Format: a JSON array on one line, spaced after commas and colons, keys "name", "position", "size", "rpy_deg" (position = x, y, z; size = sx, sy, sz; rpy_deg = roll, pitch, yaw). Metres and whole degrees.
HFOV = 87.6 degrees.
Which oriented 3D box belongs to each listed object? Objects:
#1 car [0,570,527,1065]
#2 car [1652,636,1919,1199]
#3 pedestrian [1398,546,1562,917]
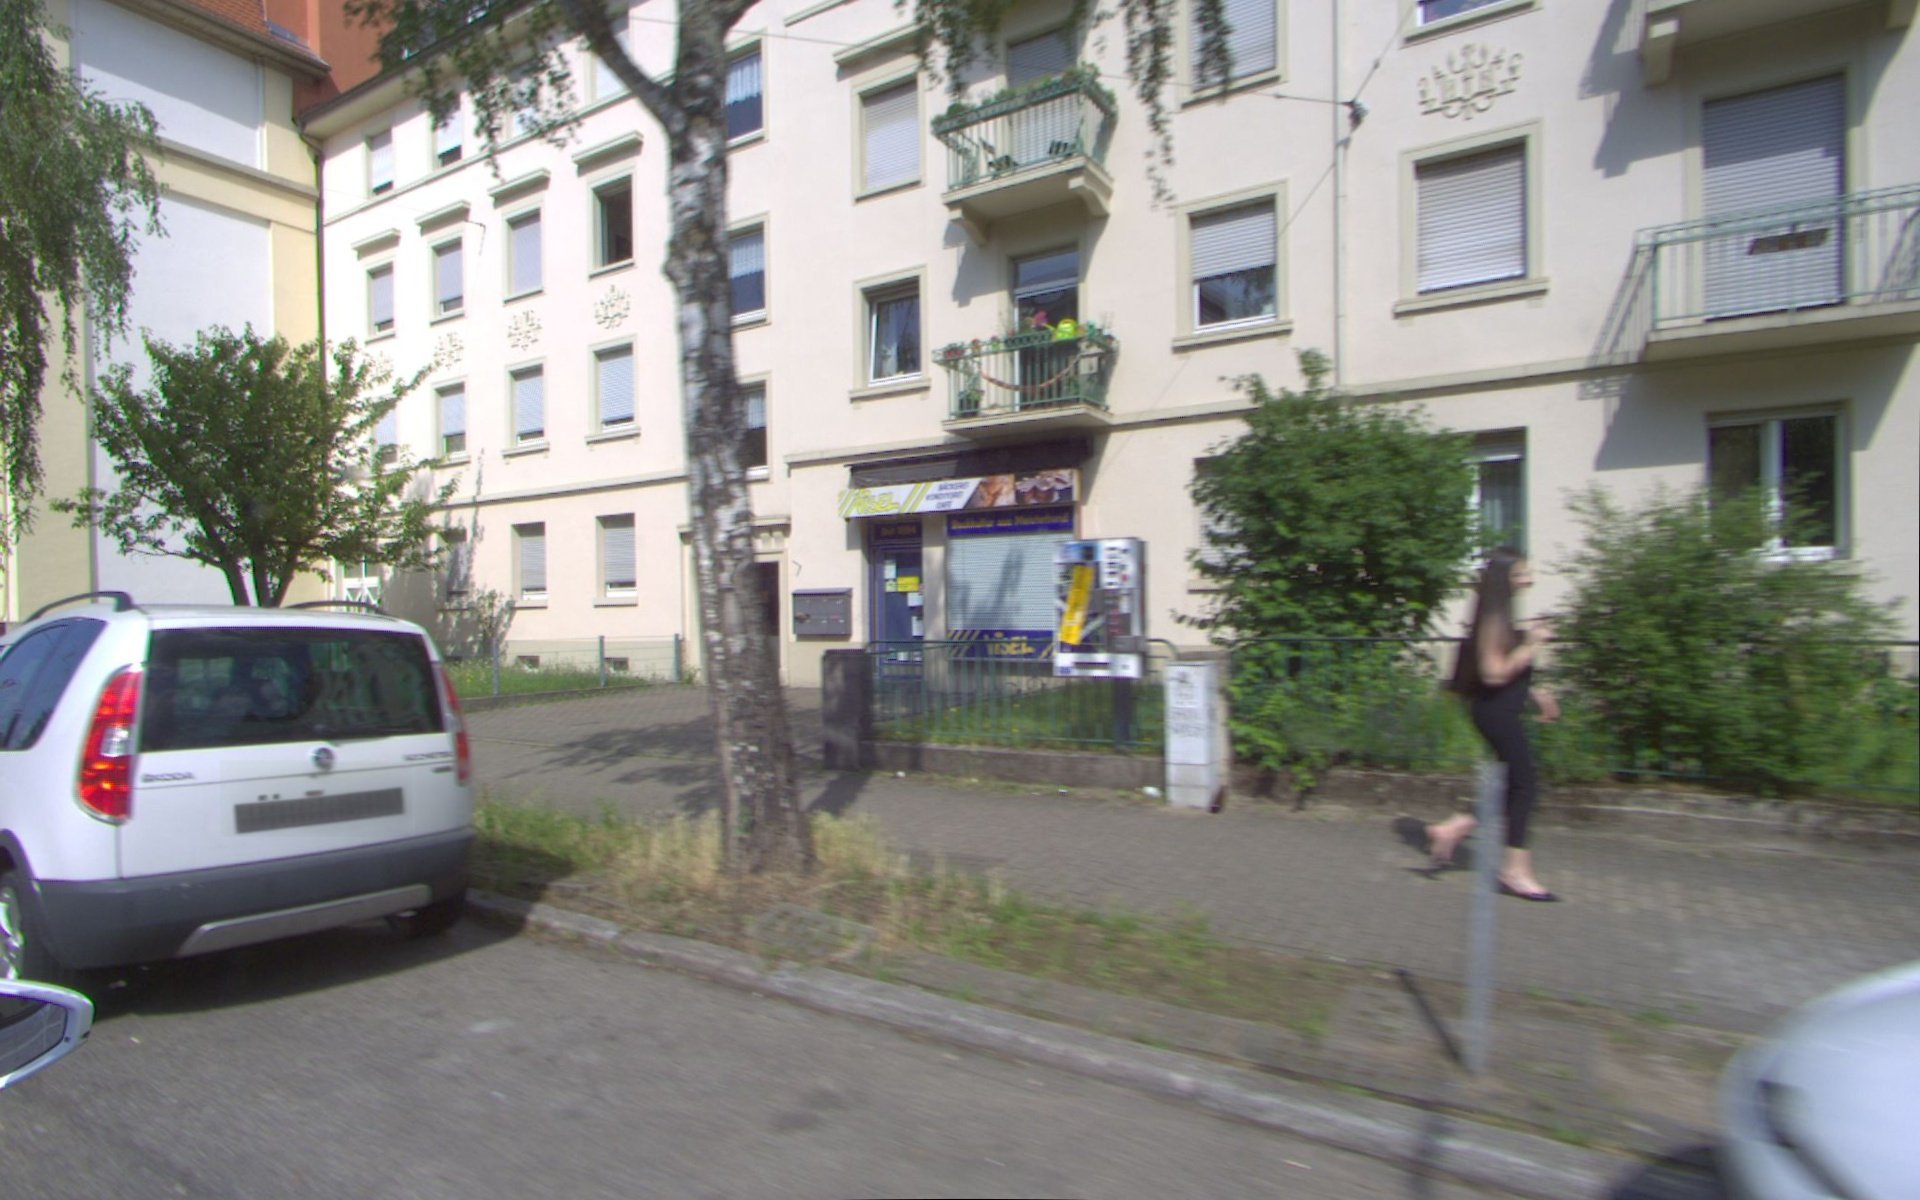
[{"name": "car", "position": [-4.177, 0.796, 5.203], "size": [3.946, 1.650, 1.717], "rpy_deg": [-1, -3, 35]}, {"name": "car", "position": [2.931, 0.779, 0.845], "size": [3.740, 1.434, 1.671], "rpy_deg": [-1, -3, 31]}, {"name": "pedestrian", "position": [2.646, 0.602, 5.074], "size": [0.681, 1.706, 0.728], "rpy_deg": [0, 2, 32]}]
